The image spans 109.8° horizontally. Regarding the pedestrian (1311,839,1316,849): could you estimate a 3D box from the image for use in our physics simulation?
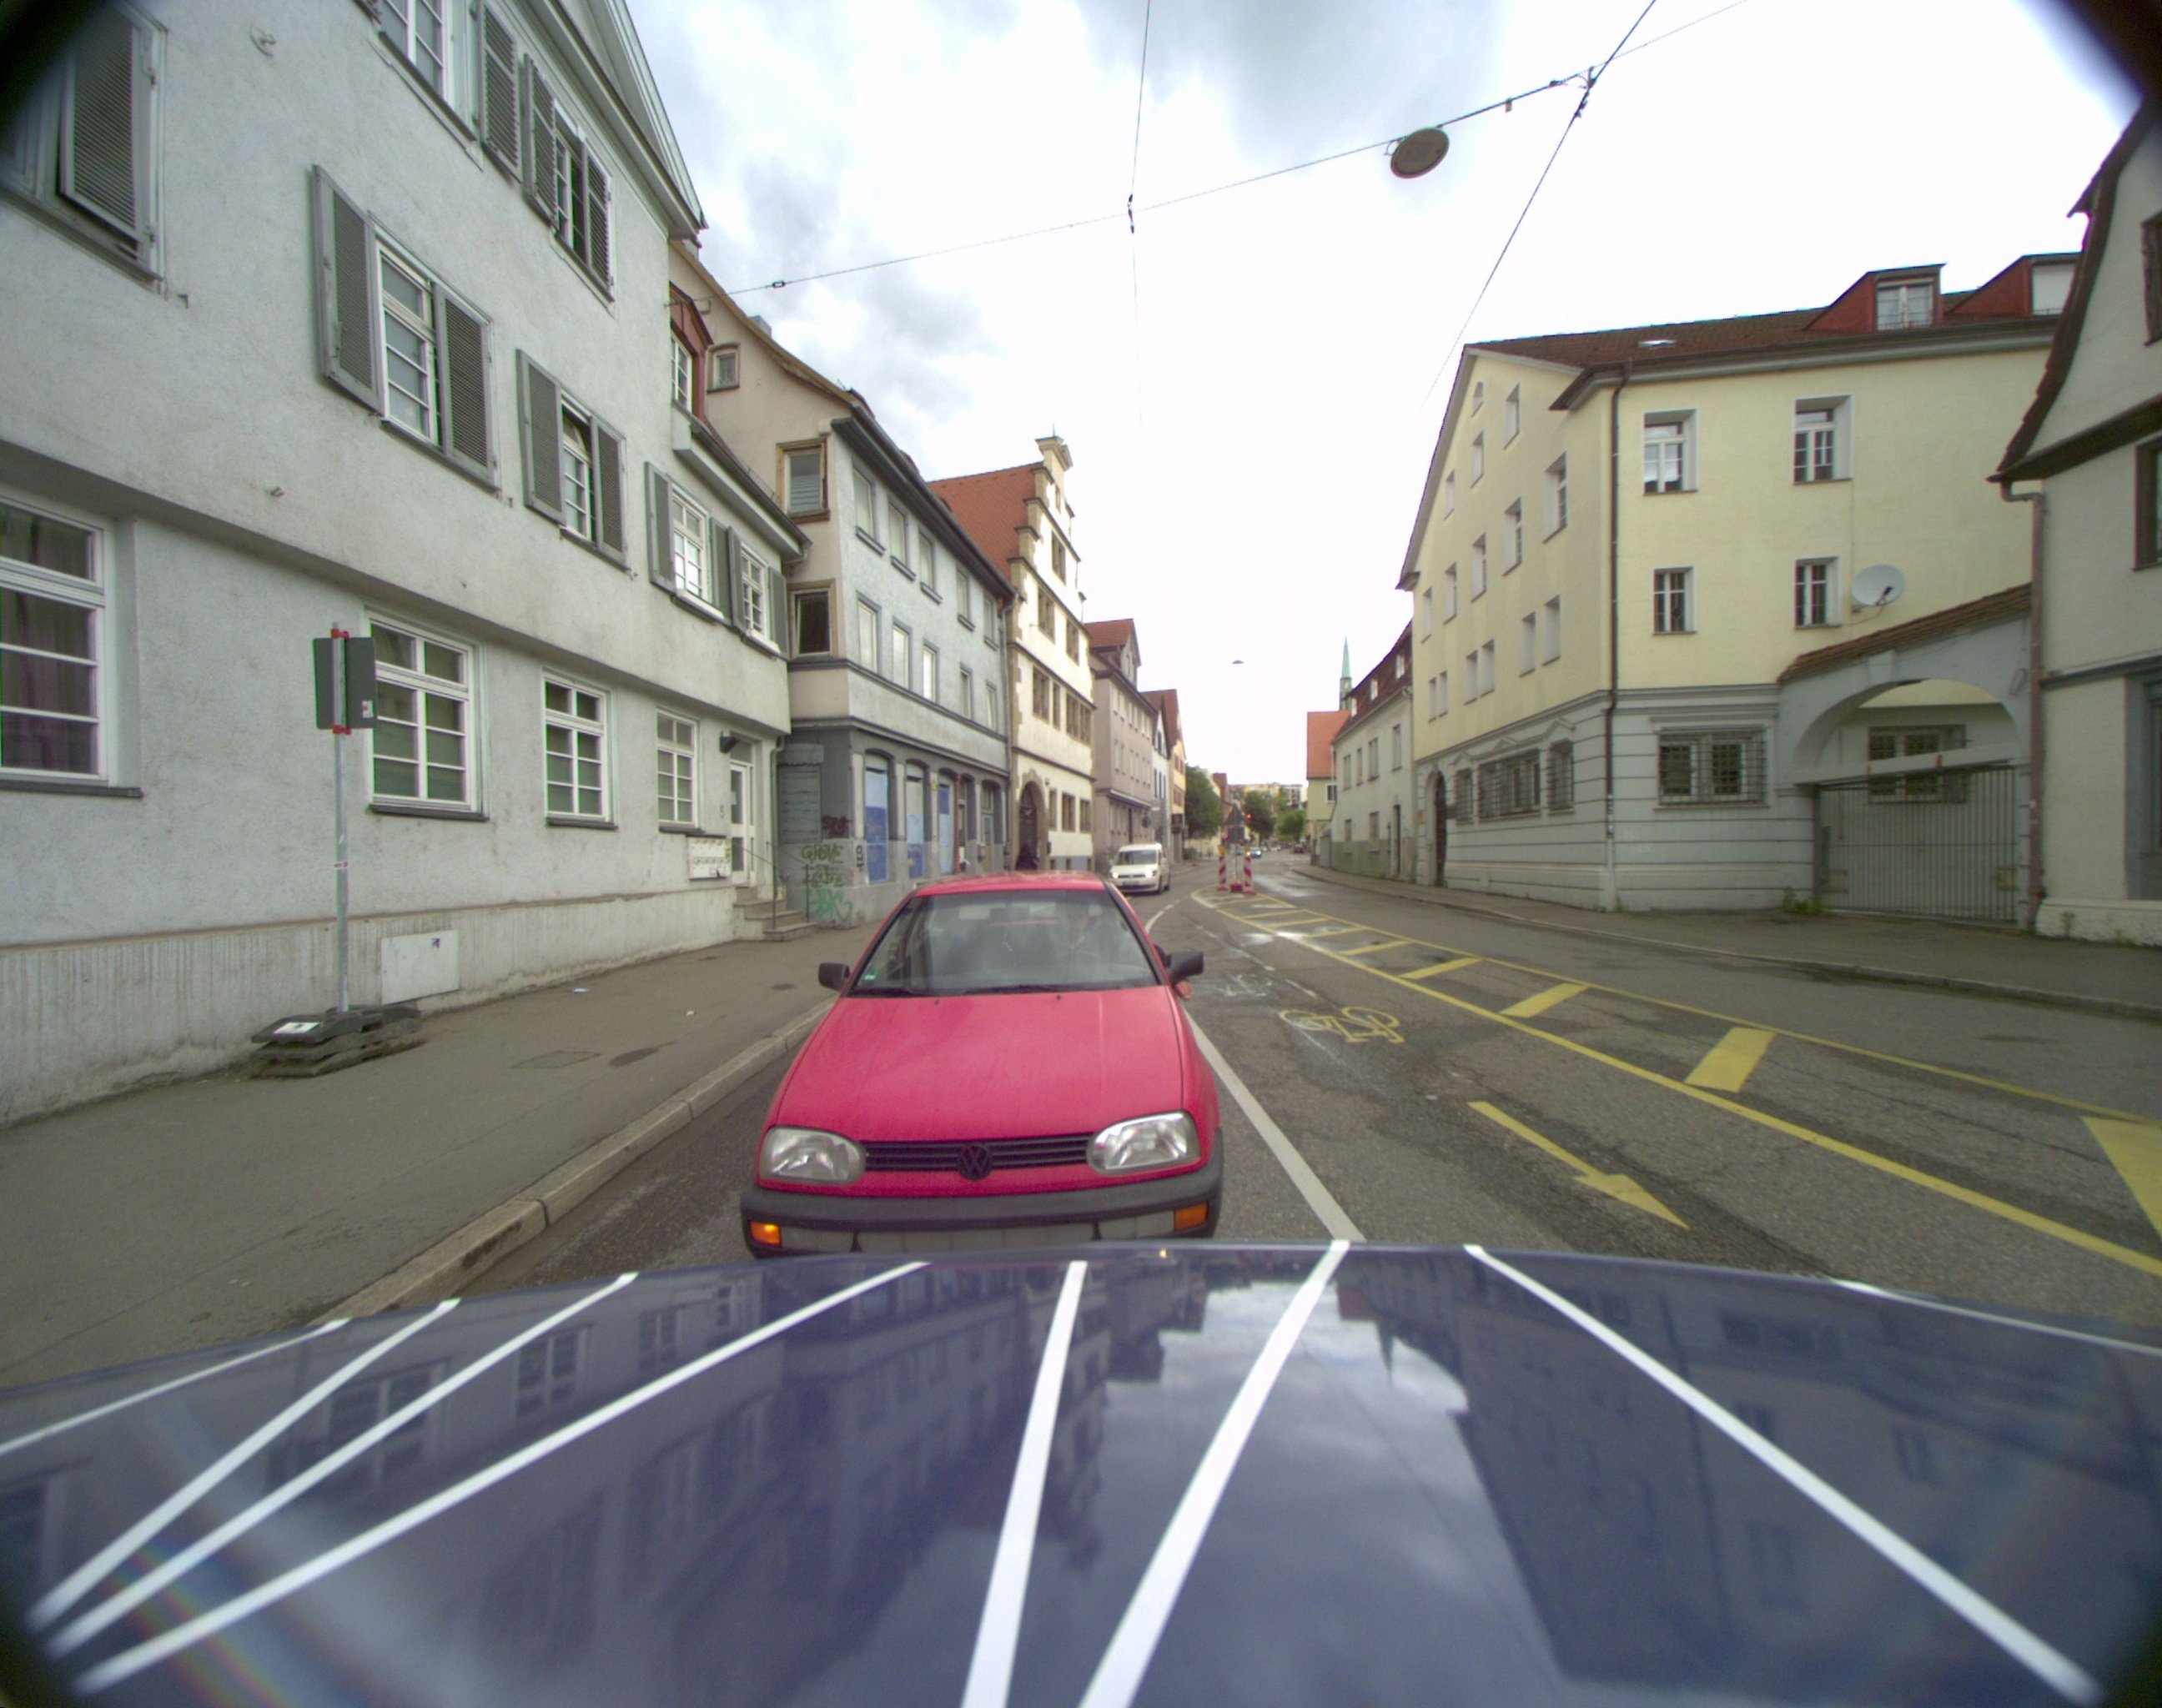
[{"bbox_3d":[43.089,-1.853,140.672,0.835,2.002,0.846,-1,1,13],"label":"pedestrian"}]

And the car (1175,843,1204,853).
[{"bbox_3d":[16.307,-0.882,113.624,3.992,1.455,2.002,-1,1,17],"label":"car"}]

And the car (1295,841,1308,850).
[{"bbox_3d":[42.665,-1.664,146.794,2.210,1.668,4.502,0,1,14],"label":"car"}]

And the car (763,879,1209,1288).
[{"bbox_3d":[-0.335,0.955,4.942,1.685,1.418,4.021,-1,0,1],"label":"car"}]

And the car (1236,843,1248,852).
[{"bbox_3d":[28.331,-1.119,133.617,2.031,1.546,4.004,0,1,14],"label":"car"}]

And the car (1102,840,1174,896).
[{"bbox_3d":[2.124,0.415,26.922,1.997,1.777,4.470,0,2,12],"label":"car"}]

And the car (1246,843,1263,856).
[{"bbox_3d":[23.664,-0.619,103.690,1.996,1.669,4.004,-1,1,15],"label":"car"}]

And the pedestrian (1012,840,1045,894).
[{"bbox_3d":[-1.638,0.406,23.956,0.756,1.658,0.810,2,1,15],"label":"pedestrian"}]
